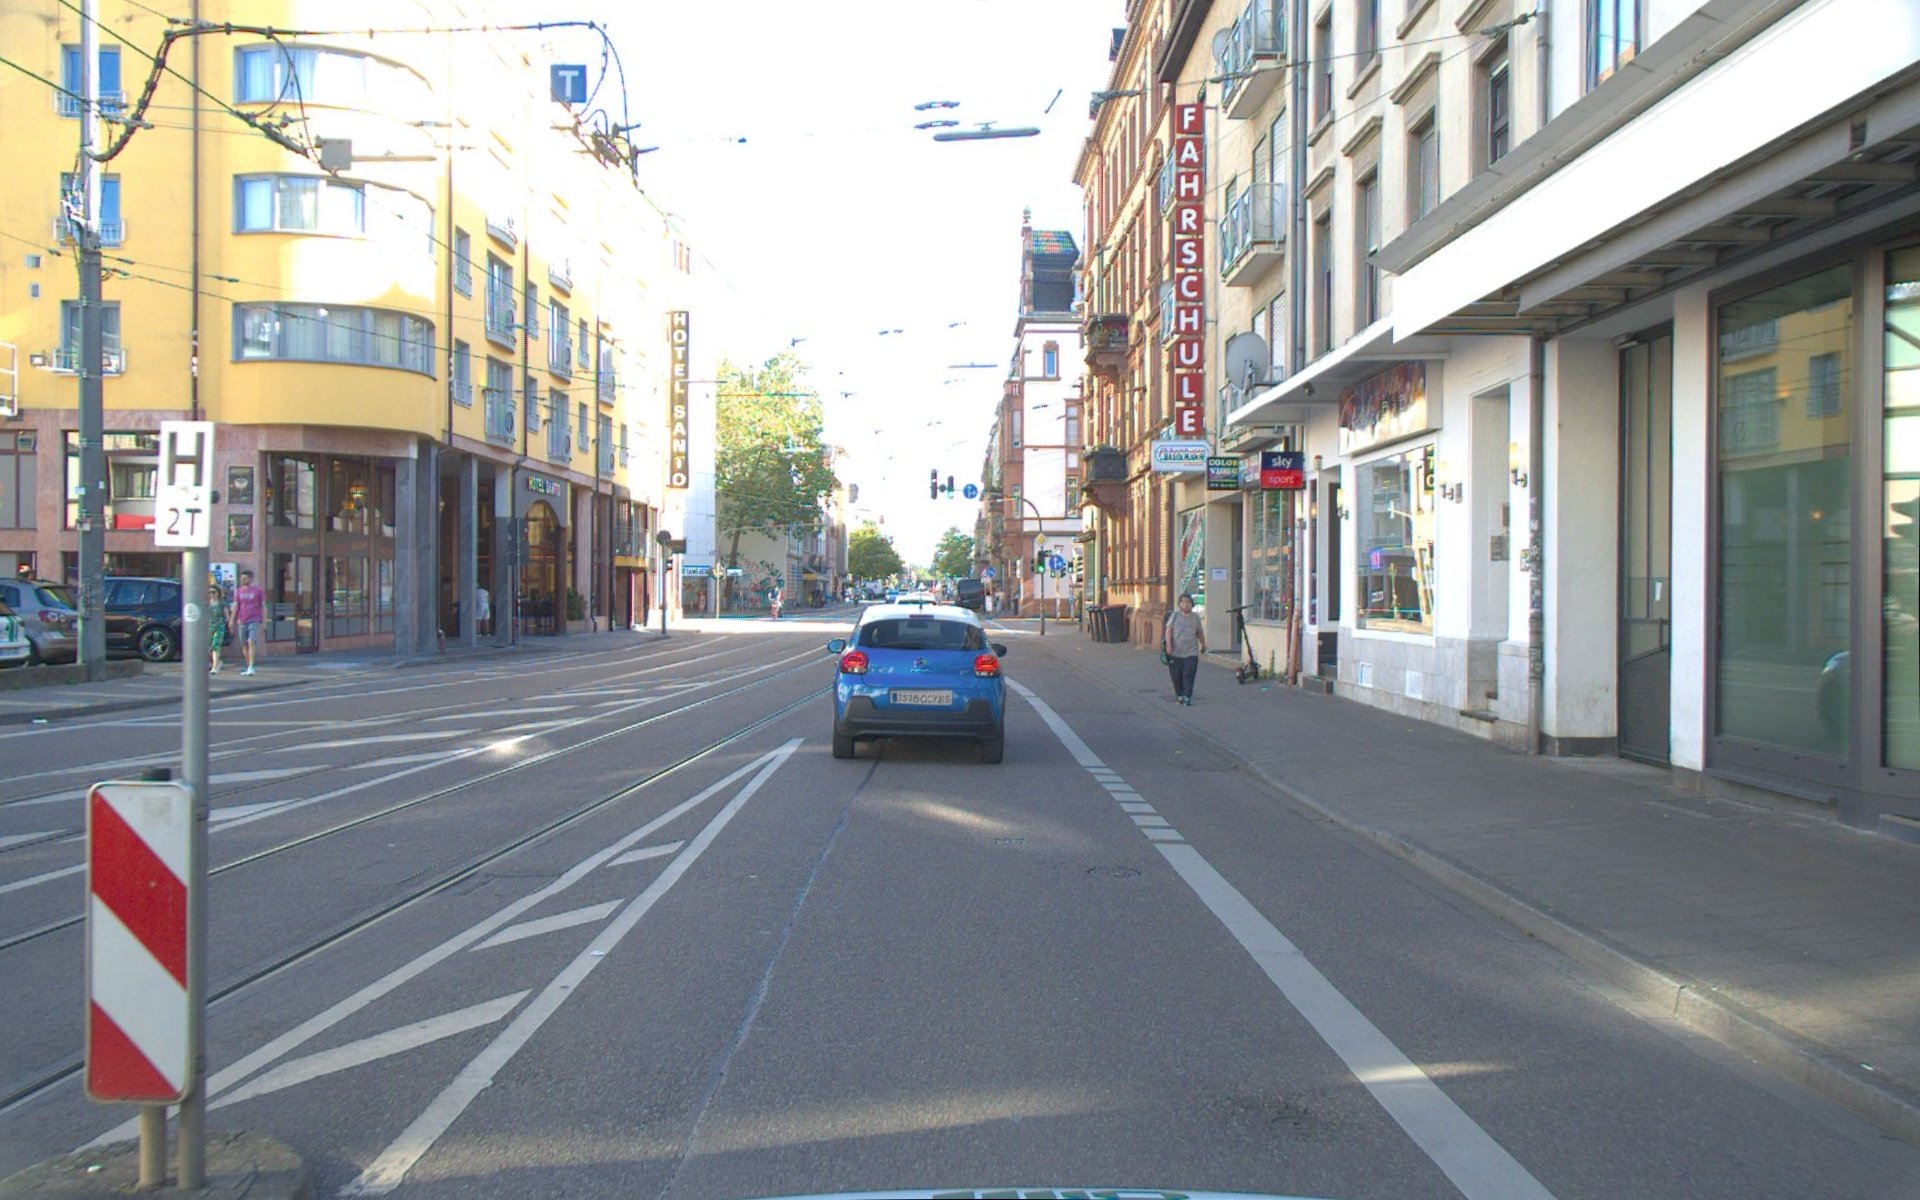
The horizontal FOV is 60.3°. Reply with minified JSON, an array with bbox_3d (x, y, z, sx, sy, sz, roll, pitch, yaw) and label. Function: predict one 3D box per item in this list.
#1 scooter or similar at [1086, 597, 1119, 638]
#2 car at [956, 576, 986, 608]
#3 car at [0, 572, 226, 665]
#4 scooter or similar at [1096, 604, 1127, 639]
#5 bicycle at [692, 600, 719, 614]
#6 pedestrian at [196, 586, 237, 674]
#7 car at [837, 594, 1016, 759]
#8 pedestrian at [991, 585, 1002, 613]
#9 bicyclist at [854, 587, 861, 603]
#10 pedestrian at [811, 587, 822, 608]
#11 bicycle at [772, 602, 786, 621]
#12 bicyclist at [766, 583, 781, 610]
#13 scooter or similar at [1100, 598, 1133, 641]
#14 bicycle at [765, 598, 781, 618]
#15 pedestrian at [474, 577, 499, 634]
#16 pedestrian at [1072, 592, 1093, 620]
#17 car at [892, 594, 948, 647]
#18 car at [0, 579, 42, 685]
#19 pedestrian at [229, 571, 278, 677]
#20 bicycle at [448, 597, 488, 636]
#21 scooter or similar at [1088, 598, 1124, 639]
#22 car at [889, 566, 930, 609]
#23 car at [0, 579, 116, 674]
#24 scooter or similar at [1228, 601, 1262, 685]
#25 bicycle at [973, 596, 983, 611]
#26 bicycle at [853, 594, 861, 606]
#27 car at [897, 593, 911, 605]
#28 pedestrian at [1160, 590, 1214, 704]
[{"bbox_3d":[4.361,0.532,50.545,0.879,1.168,0.547,-4,0,-3],"label":"scooter or similar"},{"bbox_3d":[0.835,-0.662,130.437,2.225,2.479,5.718,0,0,-1],"label":"car"},{"bbox_3d":[-17.531,0.359,33.931,4.147,1.843,1.785,0,0,-1],"label":"car"},{"bbox_3d":[4.469,0.639,48.796,0.775,0.974,0.680,-4,0,-3],"label":"scooter or similar"},{"bbox_3d":[-18.814,0.496,122.234,1.878,1.052,0.665,0,0,25],"label":"bicycle"},{"bbox_3d":[-14.018,0.562,31.186,0.560,1.645,0.499,0,0,-2],"label":"pedestrian"},{"bbox_3d":[-0.389,0.708,17.397,1.640,1.503,3.998,1,0,-2],"label":"car"},{"bbox_3d":[2.438,-0.072,110.700,0.691,1.813,0.672,1,0,-3],"label":"pedestrian"},{"bbox_3d":[-9.937,-0.502,160.124,0.668,1.509,0.778,0,0,-2],"label":"bicyclist"},{"bbox_3d":[-12.059,-0.192,139.154,0.668,1.796,1.026,0,0,9],"label":"pedestrian"},{"bbox_3d":[-10.699,0.697,97.826,0.716,1.084,2.061,0,0,-2],"label":"bicycle"},{"bbox_3d":[-10.157,-0.198,89.908,0.709,1.405,1.227,1,1,-3],"label":"bicyclist"},{"bbox_3d":[4.519,0.556,47.906,0.775,1.168,0.789,-4,0,-3],"label":"scooter or similar"},{"bbox_3d":[-10.166,0.434,89.982,0.716,1.107,2.061,0,0,-2],"label":"bicycle"},{"bbox_3d":[-15.104,0.172,52.814,0.549,1.801,0.723,0,0,3],"label":"pedestrian"},{"bbox_3d":[6.493,0.307,87.542,0.922,1.482,0.820,0,0,-13],"label":"pedestrian"},{"bbox_3d":[-1.247,0.592,50.411,1.633,1.504,3.998,0,0,-2],"label":"car"},{"bbox_3d":[-16.861,0.471,25.698,4.147,1.637,1.785,0,0,-1],"label":"car"},{"bbox_3d":[-13.262,0.443,31.064,0.624,1.980,0.709,0,0,-2],"label":"pedestrian"},{"bbox_3d":[-15.822,0.524,53.245,0.569,1.224,2.081,0,0,3],"label":"bicycle"},{"bbox_3d":[4.380,0.554,49.535,0.915,1.168,0.650,-4,0,-3],"label":"scooter or similar"},{"bbox_3d":[-2.475,-0.629,81.272,1.953,2.049,3.998,0,0,-2],"label":"car"},{"bbox_3d":[-17.125,0.488,28.576,4.147,1.575,1.784,-1,-2,-1],"label":"car"},{"bbox_3d":[4.566,0.672,26.457,0.401,1.304,1.284,-1,0,15],"label":"scooter or similar"},{"bbox_3d":[1.208,0.215,110.278,0.423,0.964,1.760,0,0,-8],"label":"bicycle"},{"bbox_3d":[-9.939,0.036,160.133,0.679,1.140,2.083,0,0,-2],"label":"bicycle"},{"bbox_3d":[-8.042,-0.163,236.400,1.953,1.774,4.561,0,0,-2],"label":"car"},{"bbox_3d":[3.234,0.658,23.627,0.635,1.587,0.781,0,0,-2],"label":"pedestrian"}]
